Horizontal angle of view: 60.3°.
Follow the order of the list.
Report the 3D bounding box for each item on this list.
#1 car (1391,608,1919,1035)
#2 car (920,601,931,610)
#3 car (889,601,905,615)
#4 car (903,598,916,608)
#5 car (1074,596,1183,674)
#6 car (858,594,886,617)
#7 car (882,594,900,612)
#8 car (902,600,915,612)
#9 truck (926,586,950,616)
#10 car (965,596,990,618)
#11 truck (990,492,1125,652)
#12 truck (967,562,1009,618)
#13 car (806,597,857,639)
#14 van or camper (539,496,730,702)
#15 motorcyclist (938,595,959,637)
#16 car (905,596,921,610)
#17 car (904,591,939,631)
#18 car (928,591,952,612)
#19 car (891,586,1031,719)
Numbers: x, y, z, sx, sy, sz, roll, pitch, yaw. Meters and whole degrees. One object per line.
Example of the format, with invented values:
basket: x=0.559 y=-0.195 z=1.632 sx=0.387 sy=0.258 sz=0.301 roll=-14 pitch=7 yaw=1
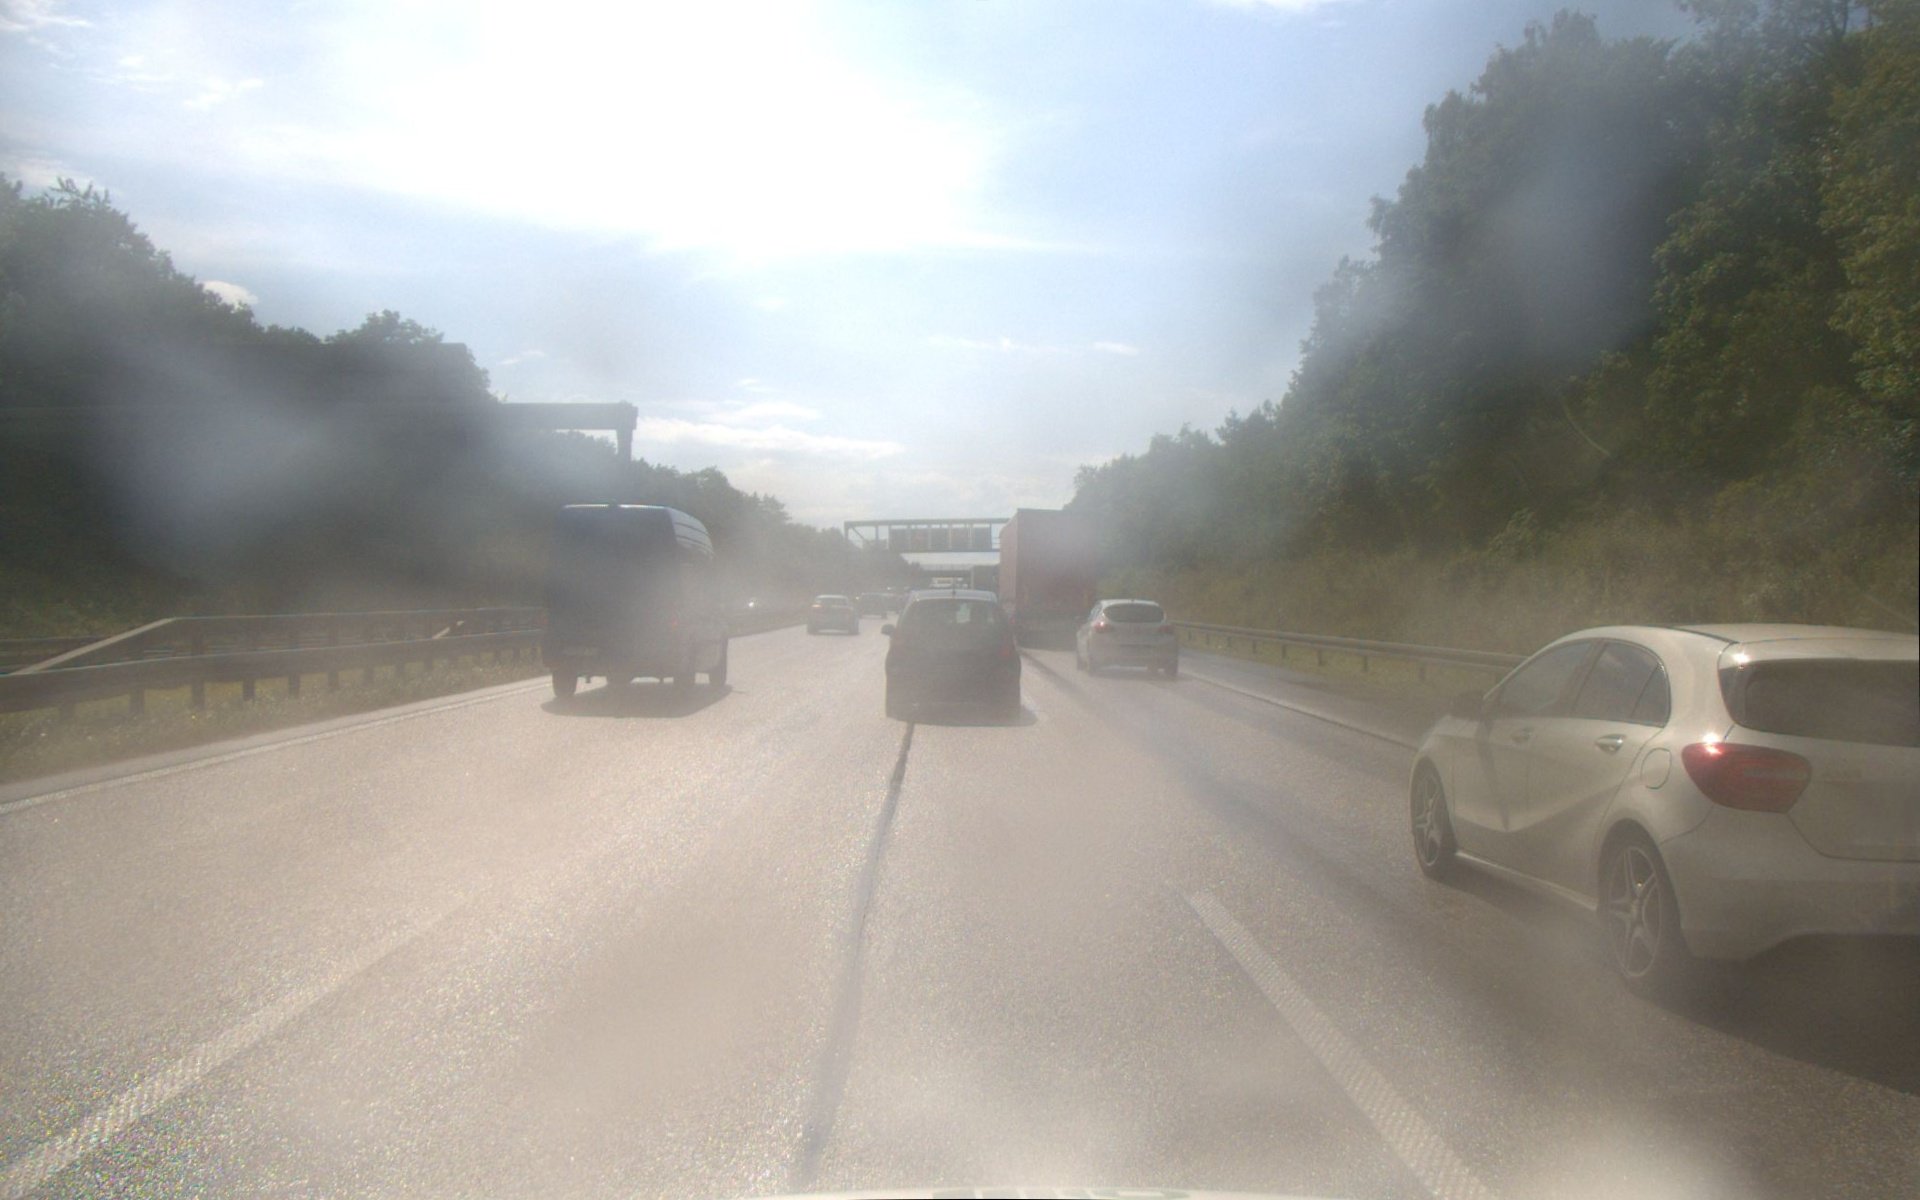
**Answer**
car: x=3.448 y=0.786 z=7.836 sx=1.658 sy=1.450 sz=4.219 roll=1 pitch=0 yaw=-1
car: x=-4.832 y=0.785 z=231.349 sx=1.518 sy=1.289 sz=3.483 roll=1 pitch=0 yaw=-3
car: x=-6.133 y=0.769 z=160.192 sx=1.518 sy=1.289 sz=3.483 roll=1 pitch=0 yaw=-3
car: x=-6.188 y=0.360 z=202.770 sx=1.518 sy=1.289 sz=3.483 roll=1 pitch=0 yaw=-3
car: x=3.355 y=0.680 z=33.599 sx=1.647 sy=1.467 sz=3.903 roll=1 pitch=0 yaw=-2
car: x=-5.784 y=0.361 z=108.943 sx=1.716 sy=1.482 sz=3.388 roll=1 pitch=0 yaw=-2
car: x=-5.616 y=0.214 z=135.071 sx=1.431 sy=1.418 sz=3.310 roll=1 pitch=0 yaw=-2
car: x=-5.943 y=0.670 z=190.476 sx=1.518 sy=1.289 sz=3.483 roll=1 pitch=0 yaw=-3
truck: x=-2.158 y=0.107 z=161.405 sx=2.148 sy=2.926 sz=4.847 roll=1 pitch=0 yaw=-2
car: x=1.191 y=0.472 z=112.502 sx=1.521 sy=1.407 sz=3.208 roll=1 pitch=0 yaw=-2
truck: x=3.138 y=-0.835 z=58.817 sx=3.575 sy=4.803 sz=16.776 roll=1 pitch=0 yaw=-1
truck: x=2.313 y=-0.800 z=140.414 sx=3.190 sy=4.558 sz=12.419 roll=1 pitch=0 yaw=-1
car: x=-4.966 y=0.684 z=64.130 sx=1.817 sy=1.578 sz=3.483 roll=1 pitch=0 yaw=-2
van or camper: x=-4.713 y=-0.011 z=24.766 sx=1.953 sy=2.715 sz=5.382 roll=1 pitch=0 yaw=-2
motorcyclist: x=-0.462 y=0.647 z=66.564 sx=0.785 sy=1.662 sz=1.013 roll=1 pitch=0 yaw=-2
car: x=-6.139 y=0.375 z=217.139 sx=1.952 sy=1.731 sz=4.001 roll=0 pitch=0 yaw=1
car: x=-1.786 y=0.508 z=76.188 sx=1.501 sy=1.777 sz=3.483 roll=1 pitch=0 yaw=-2
car: x=-1.378 y=0.089 z=114.143 sx=1.521 sy=1.407 sz=3.208 roll=1 pitch=0 yaw=-2
car: x=-0.057 y=0.646 z=21.958 sx=1.683 sy=1.595 sz=3.483 roll=1 pitch=0 yaw=-2
